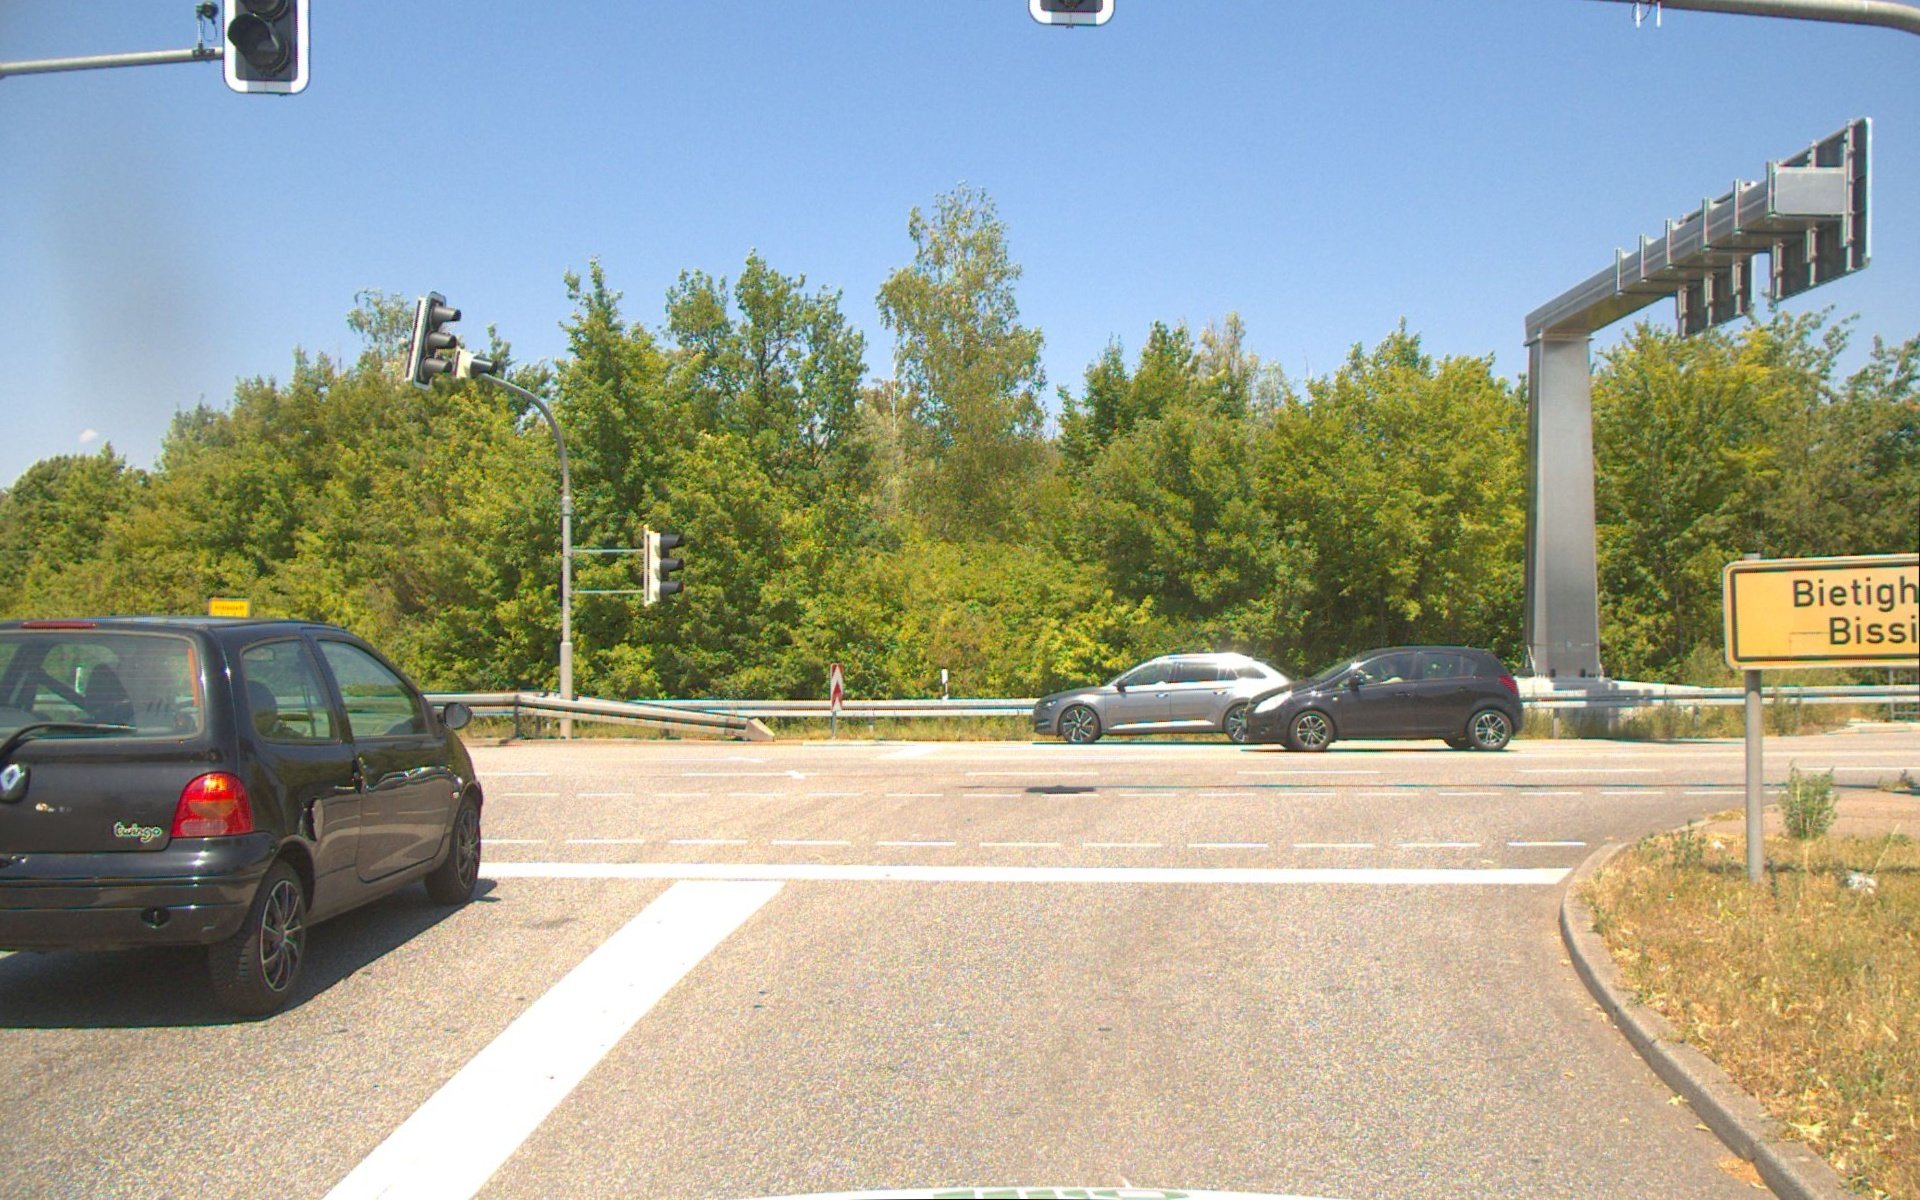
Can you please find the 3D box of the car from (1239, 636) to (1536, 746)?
[{"bbox_3d":[6.041,1.305,23.729,3.834,1.459,1.812,1,-4,2],"label":"car"}]

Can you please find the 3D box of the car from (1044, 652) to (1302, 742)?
[{"bbox_3d":[3.695,1.676,28.722,4.305,1.459,1.813,0,-4,8],"label":"car"}]

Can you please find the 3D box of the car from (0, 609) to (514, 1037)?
[{"bbox_3d":[-3.164,0.767,7.195,1.586,1.432,3.300,0,-1,-1],"label":"car"}]
